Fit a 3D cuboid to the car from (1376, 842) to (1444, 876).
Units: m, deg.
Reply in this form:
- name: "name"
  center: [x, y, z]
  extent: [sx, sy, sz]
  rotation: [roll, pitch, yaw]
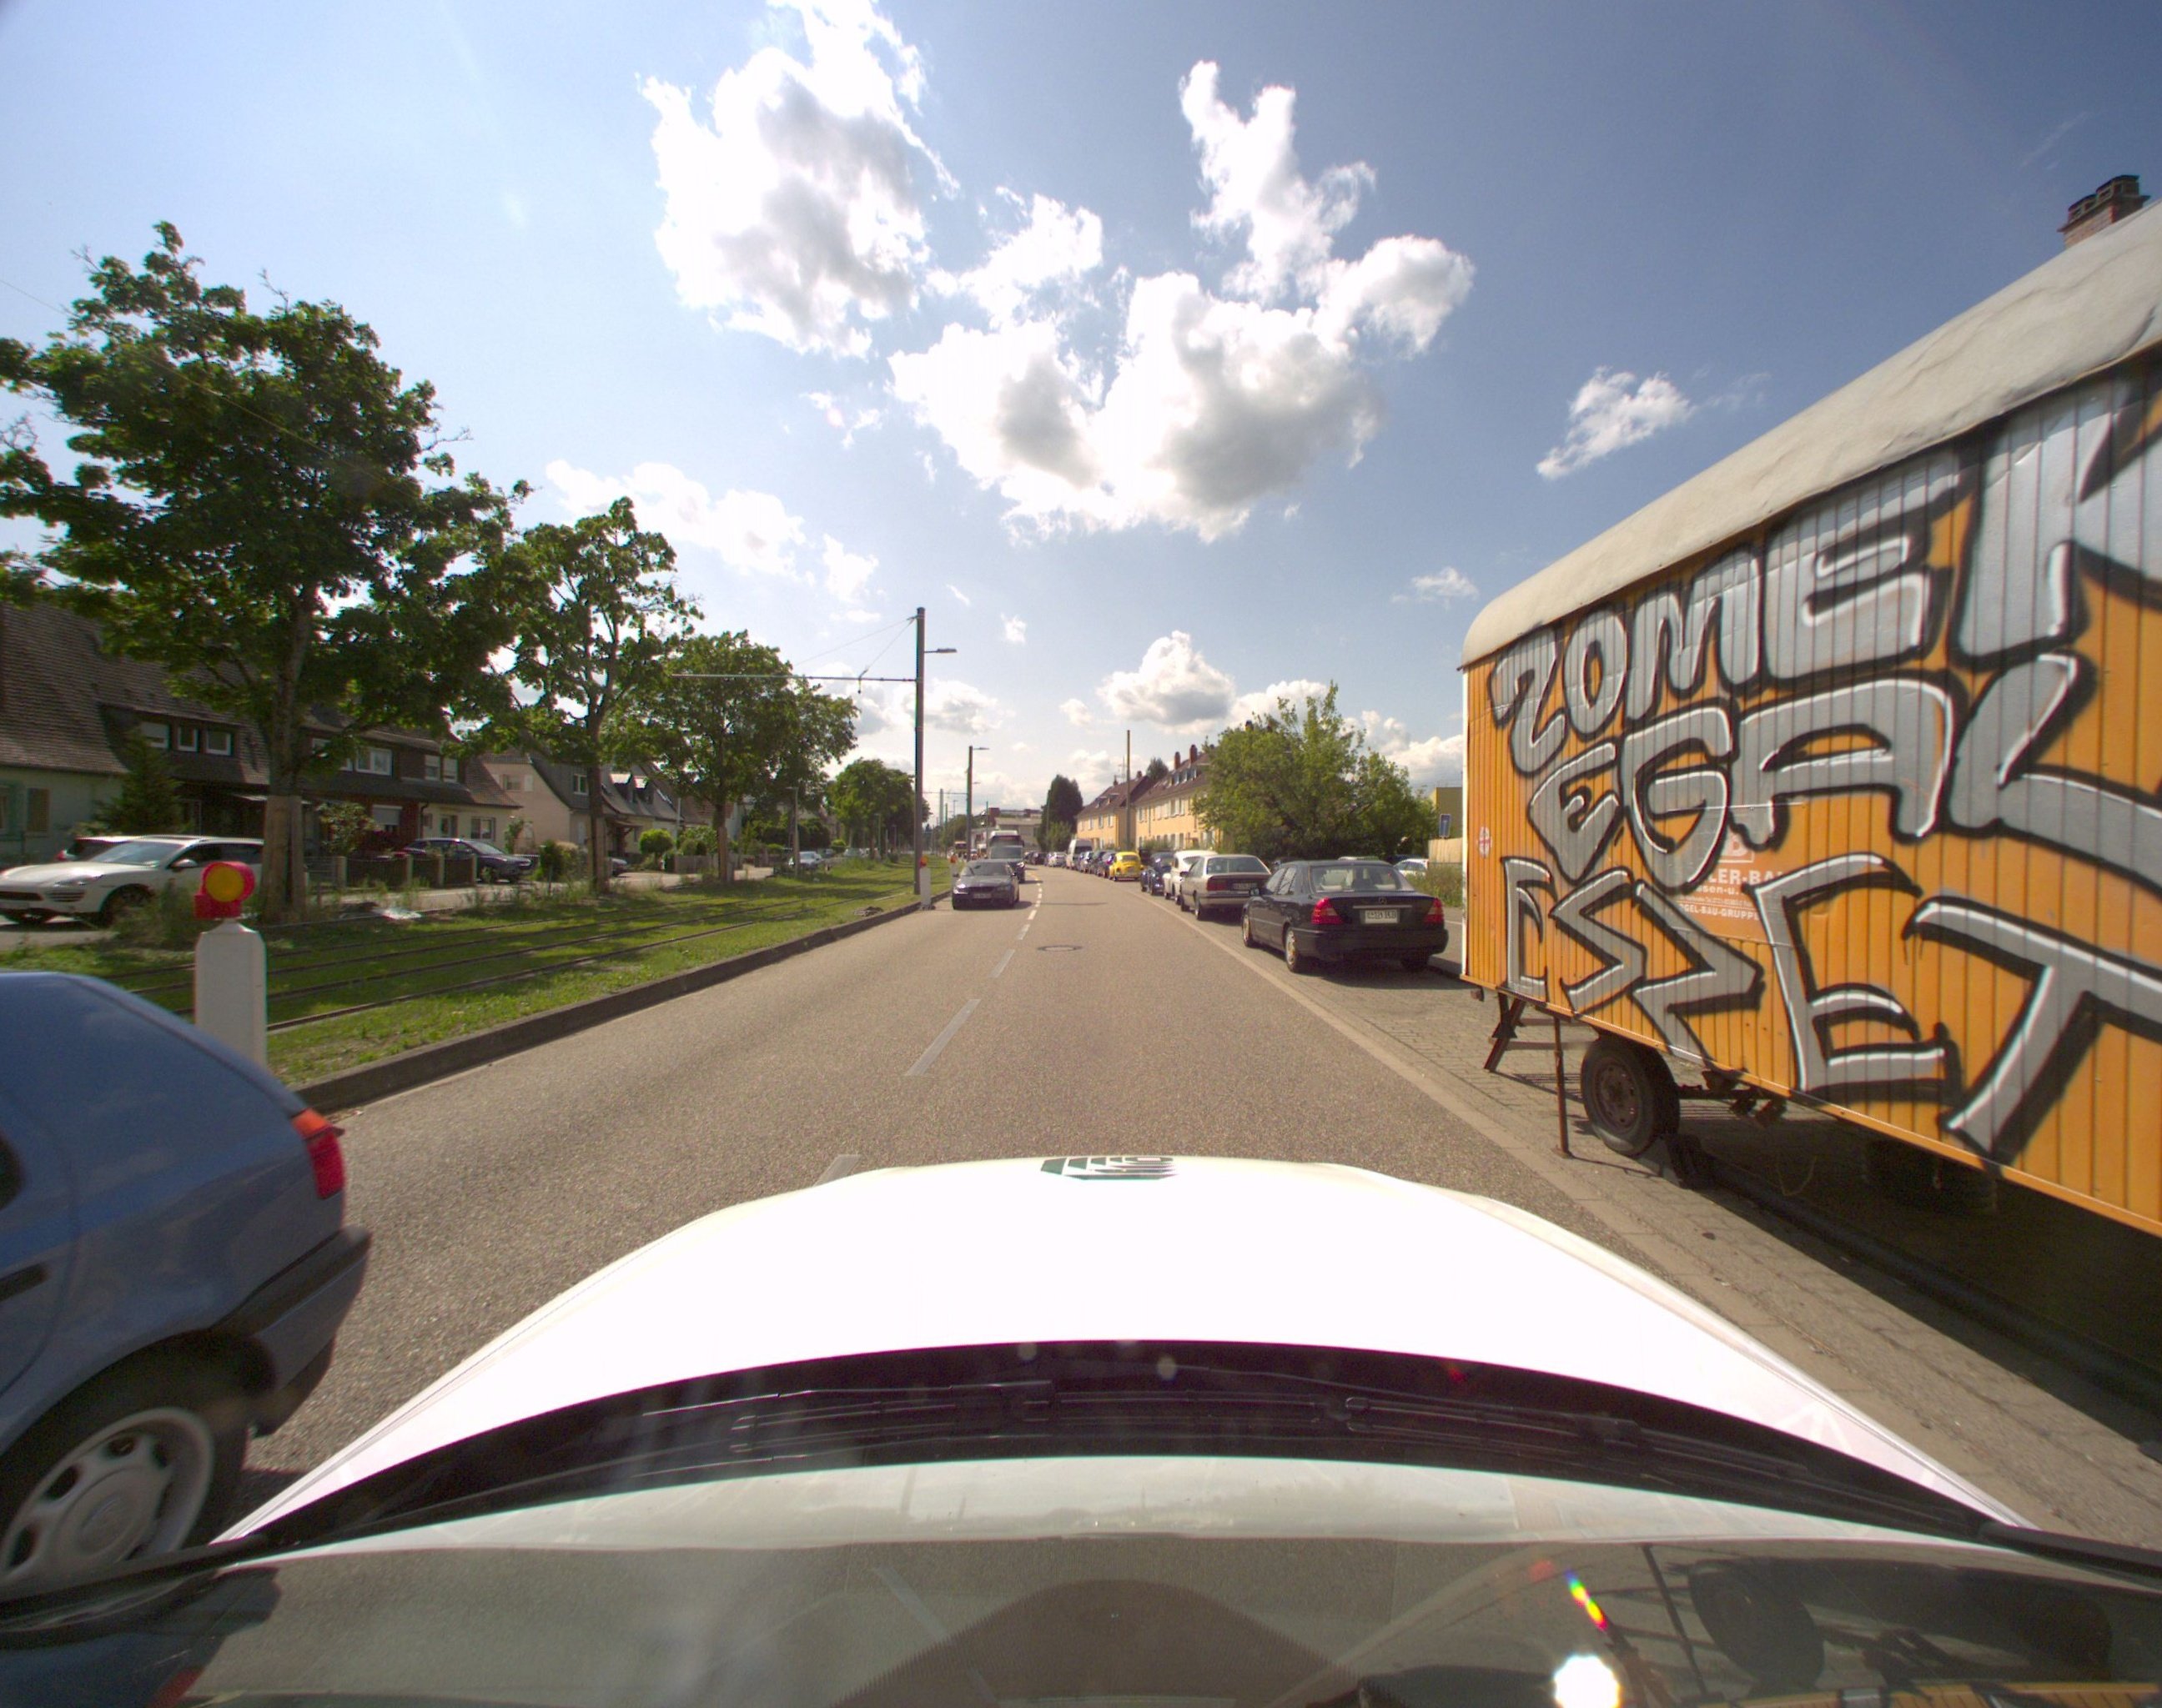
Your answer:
- name: "car"
  center: [16.554, 0.231, 41.224]
  extent: [1.632, 1.547, 4.085]
  rotation: [-3, 0, -2]

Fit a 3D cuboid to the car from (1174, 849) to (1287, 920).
- name: "car"
  center: [3.333, 0.617, 19.071]
  extent: [1.701, 1.449, 4.833]
  rotation: [0, 0, -1]

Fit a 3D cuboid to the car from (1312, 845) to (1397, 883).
- name: "car"
  center: [10.572, 0.365, 31.764]
  extent: [1.634, 1.374, 4.080]
  rotation: [0, 0, -5]

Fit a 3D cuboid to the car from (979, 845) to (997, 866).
- name: "car"
  center: [-11.269, 0.163, 98.171]
  extent: [2.101, 2.443, 5.557]
  rotation: [0, 0, -7]

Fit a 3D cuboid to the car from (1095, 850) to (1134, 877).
- name: "car"
  center: [1.876, 0.532, 47.018]
  extent: [1.634, 1.482, 4.115]
  rotation: [0, 0, -6]

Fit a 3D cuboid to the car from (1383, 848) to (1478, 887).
- name: "car"
  center: [13.332, 0.471, 31.302]
  extent: [1.634, 1.374, 4.080]
  rotation: [0, 0, -5]

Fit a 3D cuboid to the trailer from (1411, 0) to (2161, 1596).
- name: "trailer"
  center: [3.454, -0.171, 2.731]
  extent: [2.681, 3.226, 5.081]
  rotation: [0, 0, 0]

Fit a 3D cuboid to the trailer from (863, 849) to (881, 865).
- name: "trailer"
  center: [-21.894, 0.301, 85.284]
  extent: [1.566, 1.678, 3.360]
  rotation: [0, 0, -11]

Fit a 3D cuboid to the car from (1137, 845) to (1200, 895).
- name: "car"
  center: [3.078, 0.530, 29.299]
  extent: [1.545, 1.641, 4.241]
  rotation: [0, 0, -4]

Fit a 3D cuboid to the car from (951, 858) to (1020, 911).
- name: "car"
  center: [-2.797, 0.840, 24.621]
  extent: [1.720, 1.389, 4.118]
  rotation: [-2, 0, -2]

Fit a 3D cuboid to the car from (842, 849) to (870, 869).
- name: "car"
  center: [-19.373, 0.395, 70.335]
  extent: [1.811, 1.586, 4.552]
  rotation: [-2, 0, -10]

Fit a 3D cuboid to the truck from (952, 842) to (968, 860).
- name: "truck"
  center: [-23.478, -0.587, 157.922]
  extent: [2.562, 3.459, 7.118]
  rotation: [-2, 0, -13]

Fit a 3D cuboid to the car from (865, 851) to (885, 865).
- name: "car"
  center: [-22.953, 0.416, 90.937]
  extent: [1.728, 1.505, 4.552]
  rotation: [-2, 0, -10]

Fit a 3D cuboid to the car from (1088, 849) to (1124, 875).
- name: "car"
  center: [1.557, 0.476, 52.416]
  extent: [1.635, 1.602, 3.920]
  rotation: [0, 0, -8]

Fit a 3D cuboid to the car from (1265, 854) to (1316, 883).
- name: "car"
  center: [10.416, 0.681, 40.756]
  extent: [1.630, 1.355, 4.090]
  rotation: [0, 0, 2]

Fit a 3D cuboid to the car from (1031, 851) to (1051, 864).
- name: "car"
  center: [-4.603, 0.394, 93.200]
  extent: [1.764, 1.417, 3.985]
  rotation: [-2, 0, -11]

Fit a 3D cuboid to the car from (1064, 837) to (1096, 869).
- name: "car"
  center: [-0.129, -0.064, 66.474]
  extent: [1.928, 2.481, 5.503]
  rotation: [-1, 0, -7]

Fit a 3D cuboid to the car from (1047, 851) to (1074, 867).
- name: "car"
  center: [-2.045, 0.493, 78.943]
  extent: [1.800, 1.458, 4.746]
  rotation: [-2, 0, -11]

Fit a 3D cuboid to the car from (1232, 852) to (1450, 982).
- name: "car"
  center: [3.318, 0.701, 11.332]
  extent: [1.573, 1.449, 4.451]
  rotation: [0, 0, -1]

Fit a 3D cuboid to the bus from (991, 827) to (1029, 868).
- name: "bus"
  center: [-6.669, -0.569, 74.801]
  extent: [2.635, 3.412, 12.211]
  rotation: [-1, 0, -9]

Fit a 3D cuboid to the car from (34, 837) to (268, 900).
- name: "car"
  center: [-24.388, 0.354, 21.625]
  extent: [1.725, 1.517, 4.038]
  rotation: [0, 0, -4]

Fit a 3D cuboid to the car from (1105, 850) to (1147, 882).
- name: "car"
  center: [2.268, 0.582, 41.804]
  extent: [1.633, 1.482, 3.926]
  rotation: [-3, 1, -4]

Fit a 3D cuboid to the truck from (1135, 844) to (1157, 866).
- name: "truck"
  center: [5.142, 0.078, 64.719]
  extent: [1.345, 1.688, 2.435]
  rotation: [0, 0, -7]

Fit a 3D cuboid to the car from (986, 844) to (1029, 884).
- name: "car"
  center: [-3.830, 0.469, 43.370]
  extent: [1.950, 1.966, 5.289]
  rotation: [-1, 0, -2]

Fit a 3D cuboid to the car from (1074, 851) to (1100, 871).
- name: "car"
  center: [0.417, 0.506, 61.145]
  extent: [1.534, 1.445, 3.729]
  rotation: [0, 0, -6]

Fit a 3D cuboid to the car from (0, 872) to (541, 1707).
- name: "car"
  center: [-2.571, 0.825, 0.615]
  extent: [1.660, 1.449, 3.958]
  rotation: [-3, 0, -1]

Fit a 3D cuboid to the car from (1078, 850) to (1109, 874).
- name: "car"
  center: [0.819, 0.532, 56.577]
  extent: [1.634, 1.602, 4.020]
  rotation: [0, 0, -6]

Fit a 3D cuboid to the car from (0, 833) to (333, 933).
- name: "car"
  center: [-18.826, 0.507, 16.911]
  extent: [1.875, 1.768, 5.082]
  rotation: [0, 0, 0]

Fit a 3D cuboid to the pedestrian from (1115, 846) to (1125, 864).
- name: "pedestrian"
  center: [3.494, 0.072, 72.750]
  extent: [0.852, 1.652, 0.635]
  rotation: [0, 0, -6]

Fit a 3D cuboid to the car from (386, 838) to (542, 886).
- name: "car"
  center: [-24.441, 0.325, 32.428]
  extent: [4.464, 1.836, 2.061]
  rotation: [0, 0, -6]

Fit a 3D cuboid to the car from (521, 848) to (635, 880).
- name: "car"
  center: [-25.199, 0.487, 40.934]
  extent: [4.464, 1.523, 1.922]
  rotation: [0, 0, -6]

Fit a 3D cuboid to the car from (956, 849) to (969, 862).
- name: "car"
  center: [-16.206, 0.196, 111.512]
  extent: [1.733, 1.773, 4.296]
  rotation: [0, 0, -8]

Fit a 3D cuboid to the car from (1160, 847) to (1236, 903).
- name: "car"
  center: [3.366, 0.566, 24.169]
  extent: [1.573, 1.513, 4.458]
  rotation: [0, 0, -1]

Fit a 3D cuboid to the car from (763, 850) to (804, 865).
- name: "car"
  center: [-31.929, 0.395, 87.507]
  extent: [3.992, 1.571, 1.786]
  rotation: [0, 0, -14]

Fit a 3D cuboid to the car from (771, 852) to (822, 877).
- name: "car"
  center: [-17.105, 0.587, 49.184]
  extent: [1.817, 1.406, 4.803]
  rotation: [0, 0, -6]
